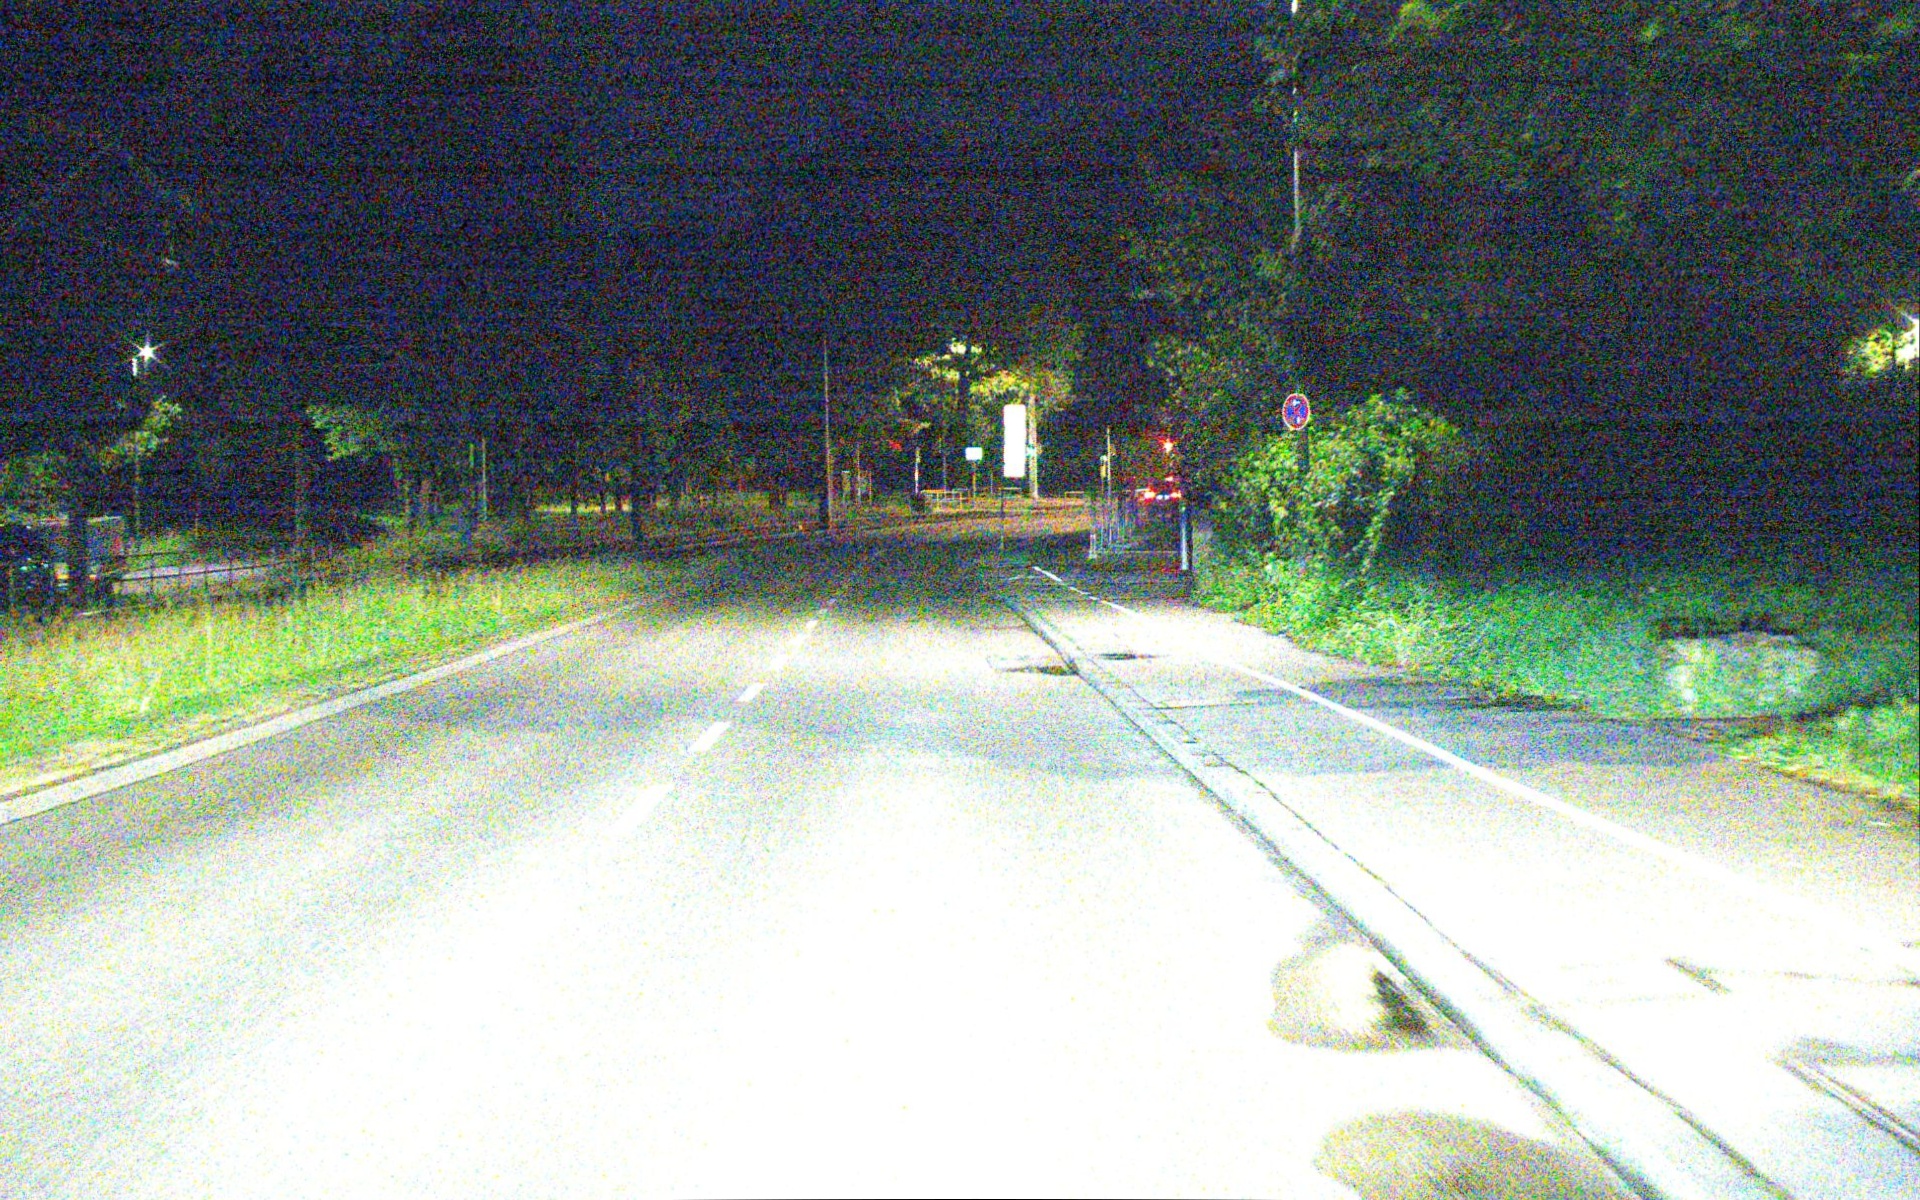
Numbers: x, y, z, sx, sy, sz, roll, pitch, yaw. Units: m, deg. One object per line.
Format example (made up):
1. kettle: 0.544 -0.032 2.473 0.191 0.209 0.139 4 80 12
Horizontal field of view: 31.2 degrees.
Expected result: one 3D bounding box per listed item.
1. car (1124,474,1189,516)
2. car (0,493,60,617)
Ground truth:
1. car: 7.970 -4.264 139.031 2.162 1.577 4.012 -3 2 9
2. car: -16.682 -0.701 57.590 2.091 2.006 4.001 -5 2 -2
